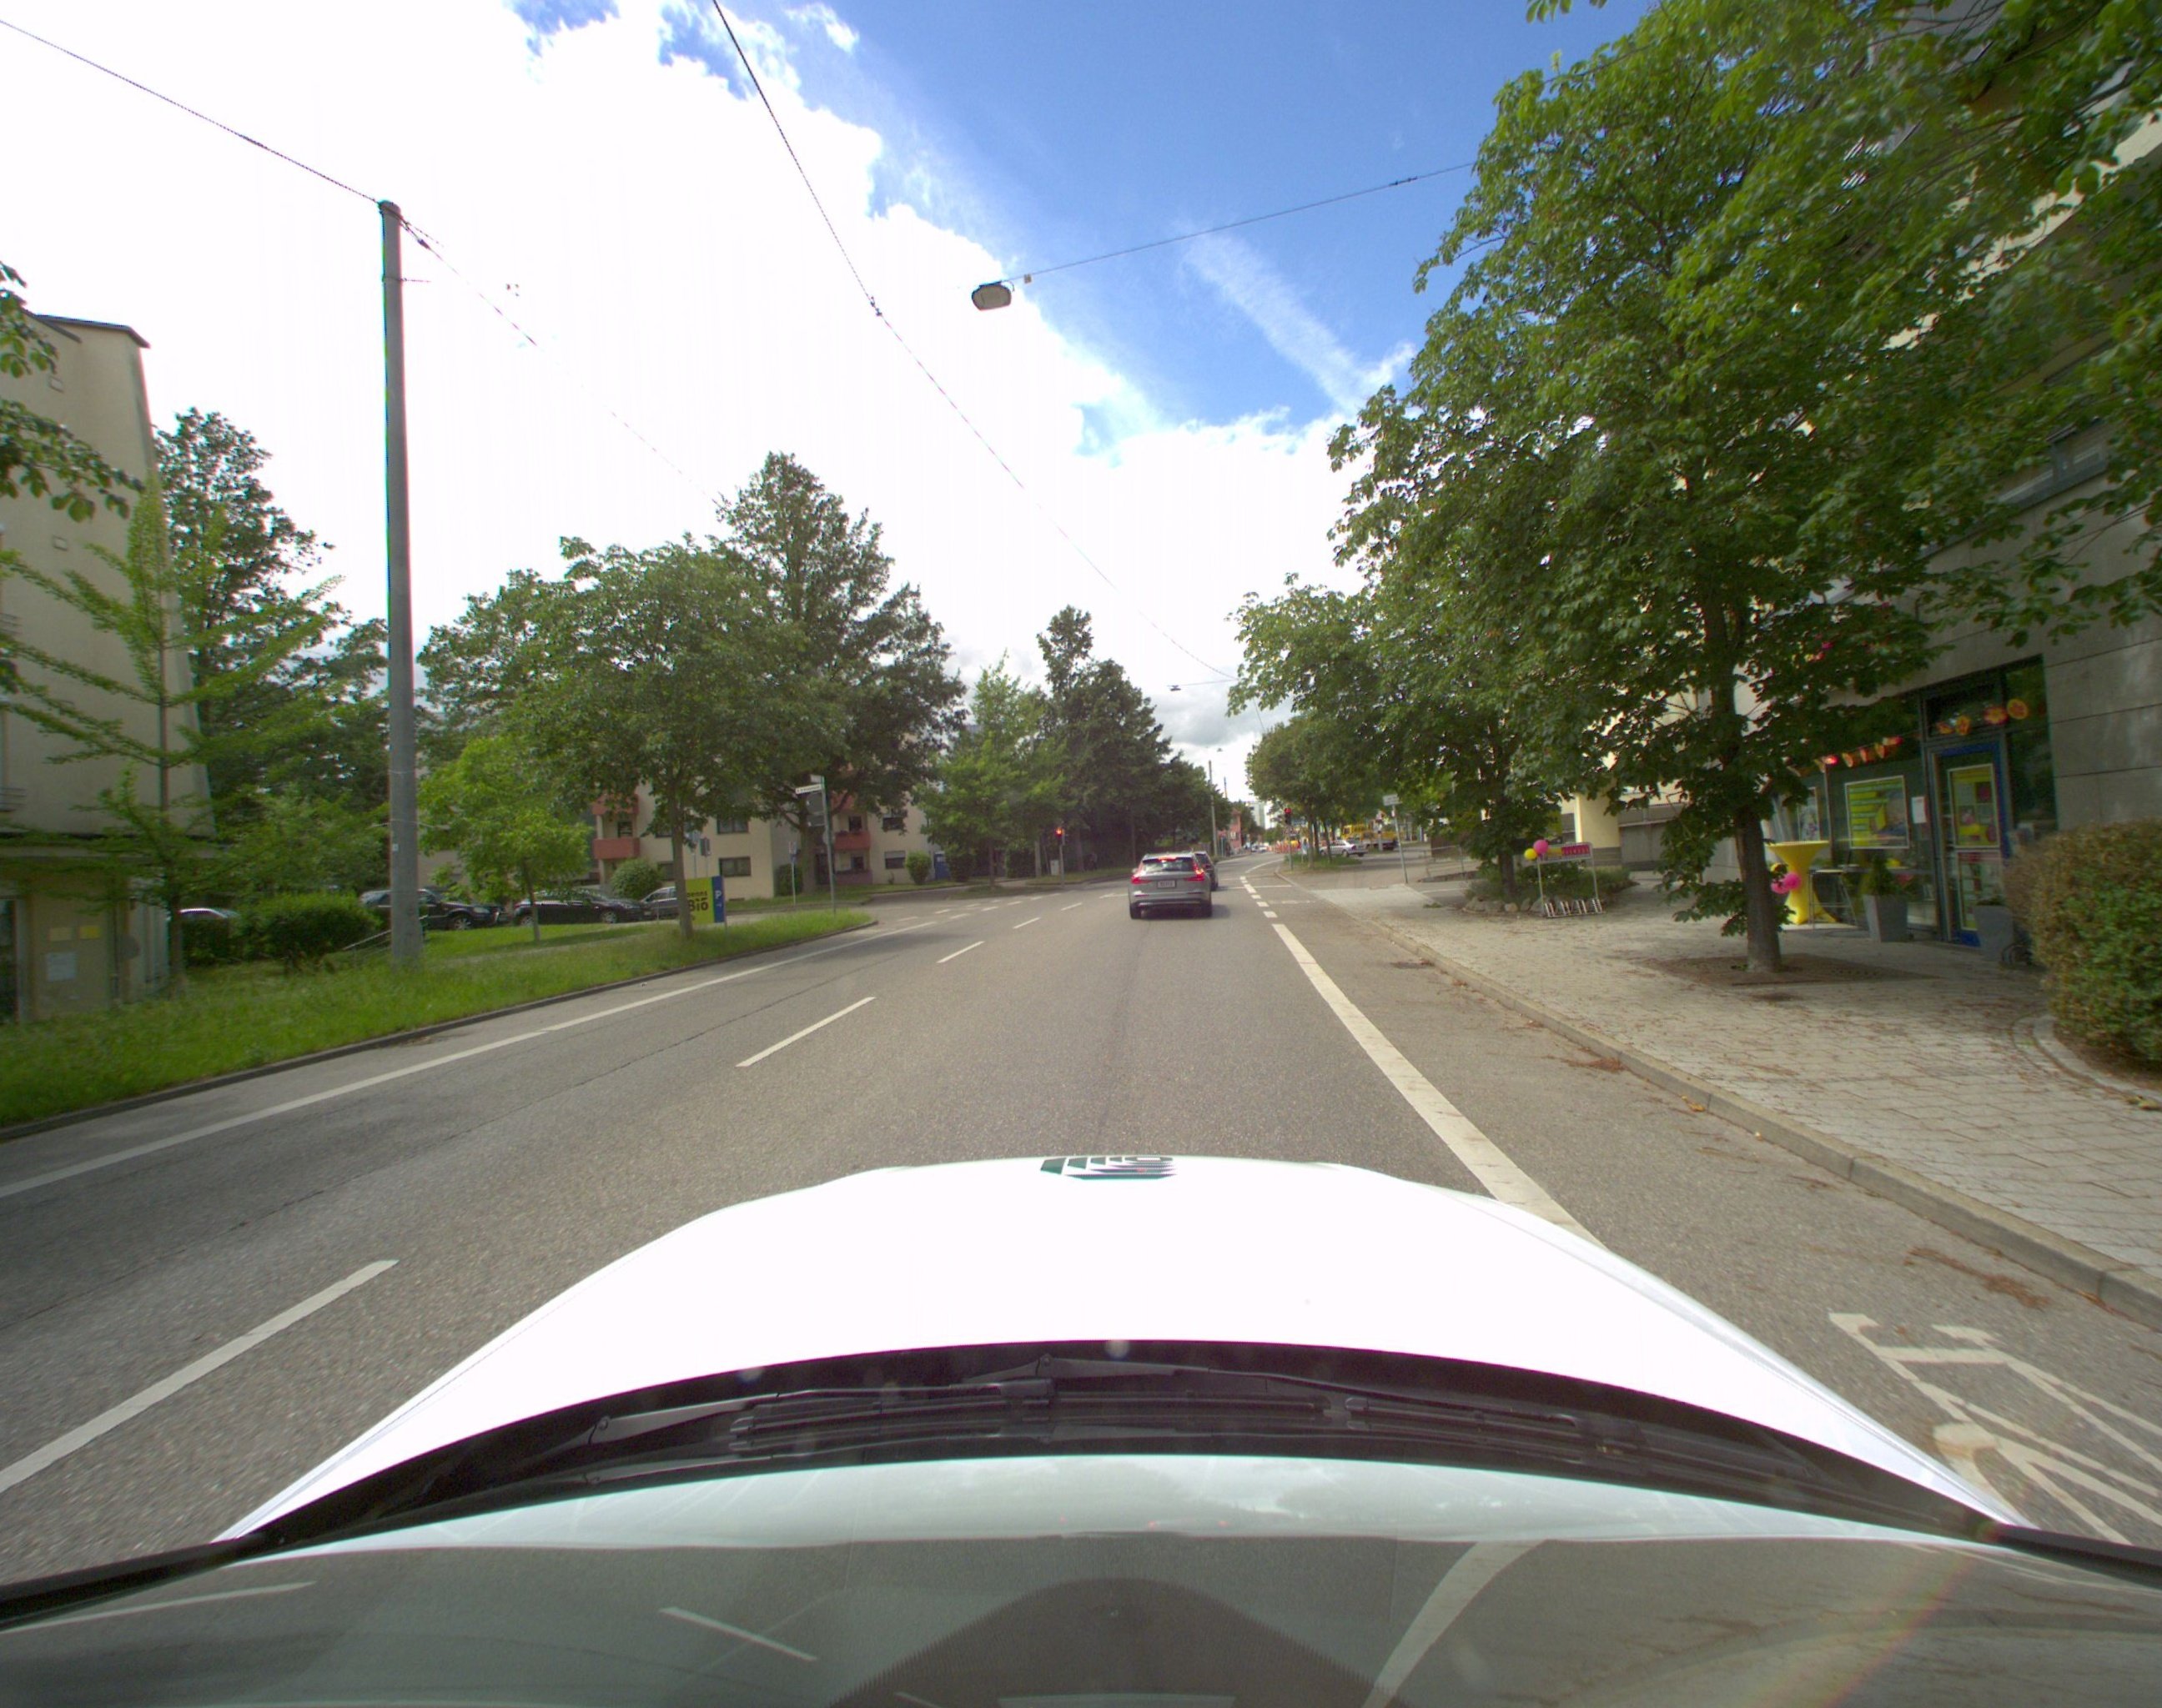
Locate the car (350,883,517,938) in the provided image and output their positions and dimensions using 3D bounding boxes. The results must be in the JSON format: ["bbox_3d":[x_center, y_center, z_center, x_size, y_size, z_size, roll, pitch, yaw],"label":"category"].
[{"bbox_3d":[-22.613,1.945,28.584,4.167,1.523,1.898,-4,-1,-4],"label":"car"}]

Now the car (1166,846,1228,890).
[{"bbox_3d":[4.360,0.462,30.134,1.791,1.523,4.346,0,0,14],"label":"car"}]

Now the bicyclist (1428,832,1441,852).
[{"bbox_3d":[25.066,-0.859,57.690,0.770,1.399,0.706,-3,-2,25],"label":"bicyclist"}]

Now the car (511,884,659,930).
[{"bbox_3d":[-17.473,1.872,28.858,4.069,1.400,1.792,-2,-4,-4],"label":"car"}]

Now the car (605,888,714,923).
[{"bbox_3d":[-19.398,2.390,37.601,4.069,1.400,1.792,-2,-4,-4],"label":"car"}]

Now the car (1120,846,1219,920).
[{"bbox_3d":[2.255,0.610,19.658,1.943,1.523,4.343,-3,0,11],"label":"car"}]

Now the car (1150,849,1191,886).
[{"bbox_3d":[4.166,0.623,38.096,1.795,1.616,4.335,0,-1,5],"label":"car"}]

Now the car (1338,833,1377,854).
[{"bbox_3d":[29.095,-1.100,85.670,3.780,2.014,1.725,-2,-2,-32],"label":"car"}]

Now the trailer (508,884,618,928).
[{"bbox_3d":[-23.688,2.378,37.344,3.901,1.799,1.627,-2,-4,-6],"label":"trailer"}]

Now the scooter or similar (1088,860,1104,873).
[{"bbox_3d":[1.178,1.013,64.188,0.959,0.962,0.684,-3,-1,-31],"label":"scooter or similar"}]

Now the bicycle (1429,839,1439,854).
[{"bbox_3d":[24.931,-0.523,57.431,0.457,1.035,2.779,-3,-1,26],"label":"bicycle"}]

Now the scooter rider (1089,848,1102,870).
[{"bbox_3d":[1.128,0.394,64.198,0.709,1.727,0.673,-2,-2,-29],"label":"scooter rider"}]

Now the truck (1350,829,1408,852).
[{"bbox_3d":[29.422,-1.335,80.422,5.628,2.014,2.070,-2,-2,-28],"label":"truck"}]
